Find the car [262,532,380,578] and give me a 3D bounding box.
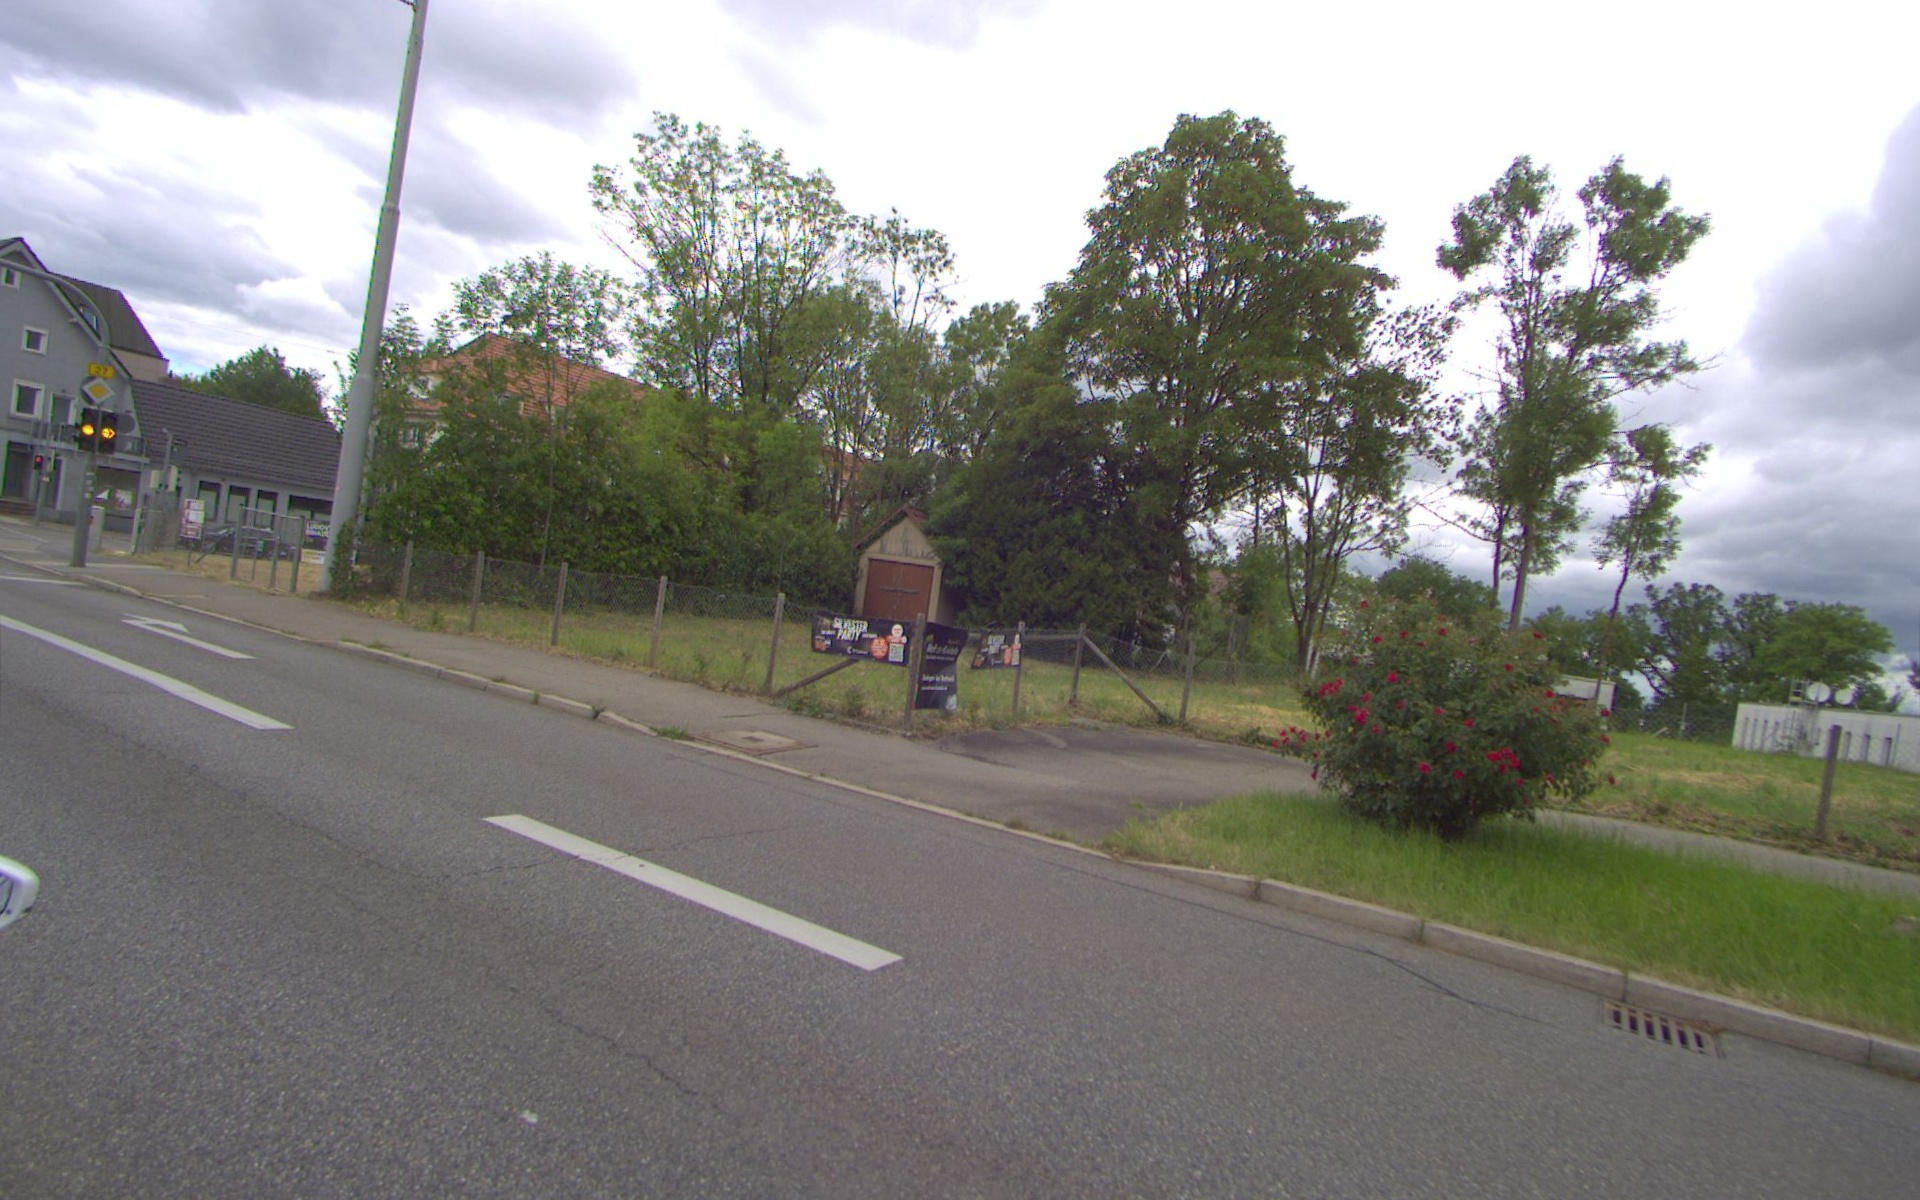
[{"bbox_3d":[-29.191,-2.016,46.095,1.770,1.387,4.097,7,-2,32],"label":"car"}]
